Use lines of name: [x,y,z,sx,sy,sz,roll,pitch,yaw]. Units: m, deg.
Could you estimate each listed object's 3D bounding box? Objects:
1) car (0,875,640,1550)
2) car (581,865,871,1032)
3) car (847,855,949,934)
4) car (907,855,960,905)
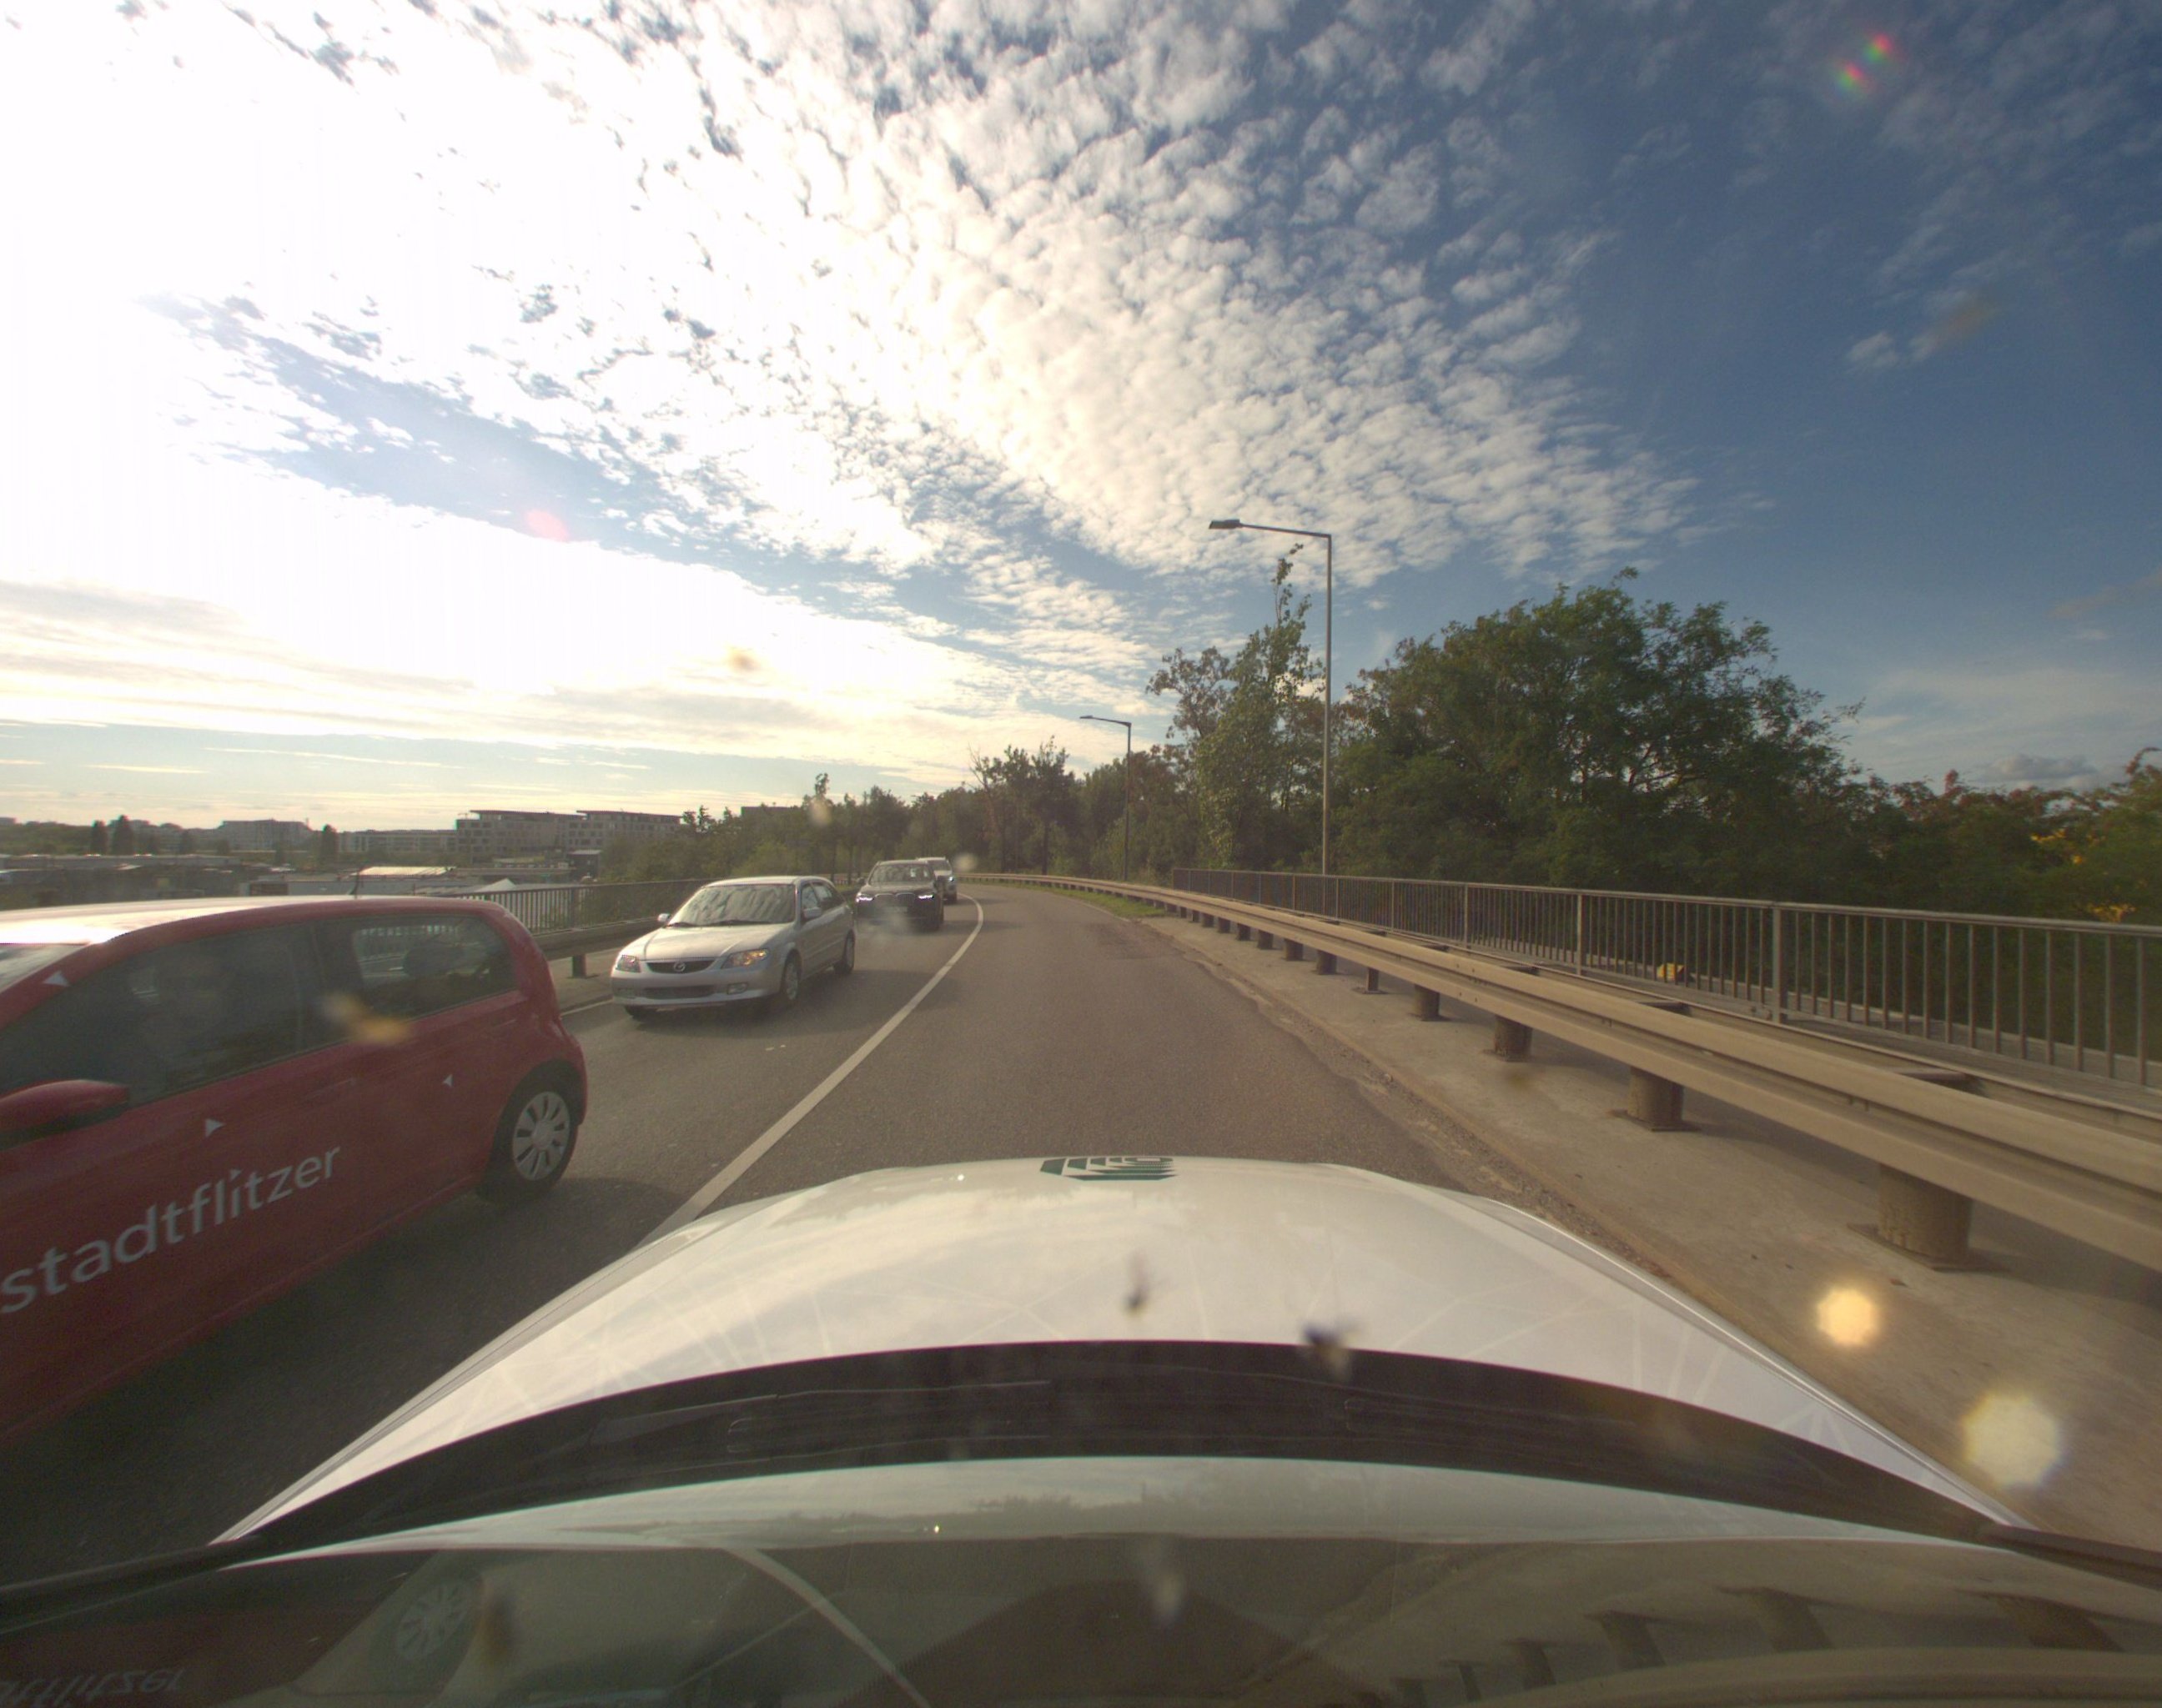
car: [-3.242,0.863,2.567,1.594,1.464,3.736,-2,0,0]
car: [-3.915,0.918,9.866,1.728,1.455,4.260,-3,0,-3]
car: [-4.346,0.904,19.991,1.887,1.649,4.631,-2,0,-7]
car: [-5.998,1.021,33.014,1.901,1.810,5.384,-1,-1,-11]
